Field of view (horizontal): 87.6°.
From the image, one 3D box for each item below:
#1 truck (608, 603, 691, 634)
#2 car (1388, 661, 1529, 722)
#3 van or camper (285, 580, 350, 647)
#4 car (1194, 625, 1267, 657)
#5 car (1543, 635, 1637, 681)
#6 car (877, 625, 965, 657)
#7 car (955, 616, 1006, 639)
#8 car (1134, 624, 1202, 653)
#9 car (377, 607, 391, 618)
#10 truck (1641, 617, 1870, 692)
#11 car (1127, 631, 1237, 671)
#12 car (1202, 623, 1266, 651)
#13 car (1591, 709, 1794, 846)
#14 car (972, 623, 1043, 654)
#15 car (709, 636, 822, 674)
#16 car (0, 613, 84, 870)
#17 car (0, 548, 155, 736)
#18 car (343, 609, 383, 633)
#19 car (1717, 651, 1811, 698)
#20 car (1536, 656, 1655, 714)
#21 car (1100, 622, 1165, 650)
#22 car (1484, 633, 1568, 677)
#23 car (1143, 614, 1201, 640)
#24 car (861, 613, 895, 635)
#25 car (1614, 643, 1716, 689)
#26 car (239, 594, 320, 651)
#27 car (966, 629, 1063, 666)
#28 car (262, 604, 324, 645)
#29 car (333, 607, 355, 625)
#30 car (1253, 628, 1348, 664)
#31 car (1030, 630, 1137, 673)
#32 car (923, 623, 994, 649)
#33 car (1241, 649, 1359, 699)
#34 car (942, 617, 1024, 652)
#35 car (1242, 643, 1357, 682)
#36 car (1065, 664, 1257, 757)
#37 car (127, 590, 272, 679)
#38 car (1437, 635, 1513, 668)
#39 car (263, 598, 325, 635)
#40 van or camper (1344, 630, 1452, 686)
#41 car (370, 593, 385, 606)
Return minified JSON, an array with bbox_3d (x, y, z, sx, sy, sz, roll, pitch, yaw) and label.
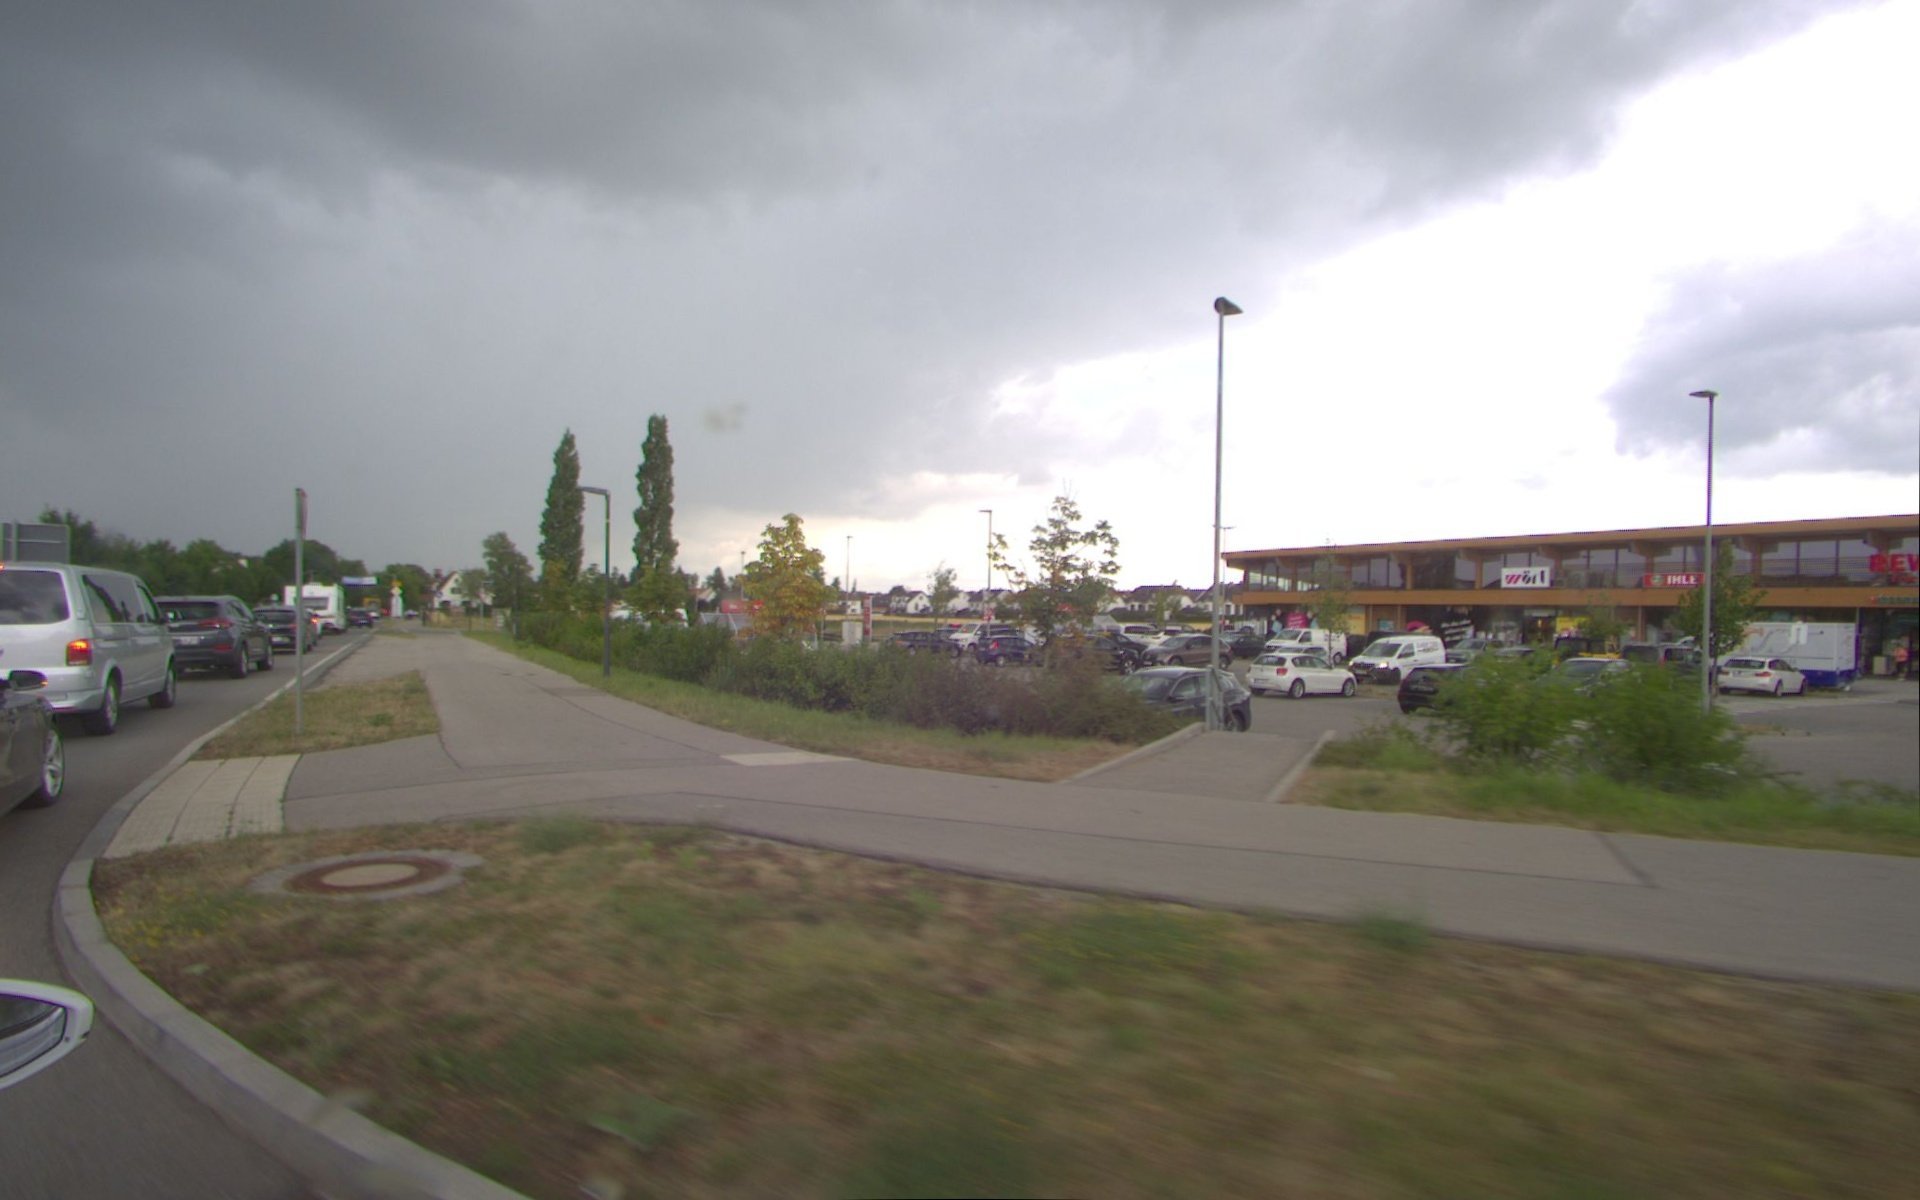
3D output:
[{"bbox_3d":[-20.223,1.213,65.295,4.750,1.896,1.987,2,-1,-34],"label":"truck"},{"bbox_3d":[13.901,2.496,27.849,3.948,1.416,1.824,1,0,-34],"label":"car"},{"bbox_3d":[-34.917,0.784,54.609,2.596,3.366,6.787,1,-1,-30],"label":"van or camper"},{"bbox_3d":[16.370,2.466,60.653,3.938,1.862,1.992,1,0,-26],"label":"car"},{"bbox_3d":[27.001,2.476,42.909,3.943,1.878,1.763,2,-1,-30],"label":"car"},{"bbox_3d":[-2.192,2.292,56.107,4.506,1.686,1.990,1,0,-30],"label":"car"},{"bbox_3d":[1.744,2.376,86.484,3.938,1.862,1.992,1,-1,-26],"label":"car"},{"bbox_3d":[13.638,2.528,65.641,3.938,1.862,1.992,1,-1,-26],"label":"car"},{"bbox_3d":[-80.781,1.747,140.423,1.595,1.427,3.598,1,-1,-28],"label":"car"},{"bbox_3d":[34.102,2.220,43.259,2.938,2.844,7.210,1,-1,-34],"label":"truck"},{"bbox_3d":[10.263,2.326,46.279,4.919,1.686,1.989,1,-1,-30],"label":"car"},{"bbox_3d":[18.838,2.541,68.726,3.940,1.795,1.991,1,-1,-28],"label":"car"},{"bbox_3d":[10.535,2.467,14.679,1.554,1.390,3.723,1,-1,23],"label":"car"},{"bbox_3d":[2.827,2.290,59.306,3.943,1.728,1.707,2,-1,-30],"label":"car"},{"bbox_3d":[-8.073,2.259,41.593,4.185,1.459,1.990,1,-1,-30],"label":"car"},{"bbox_3d":[-6.449,0.783,5.643,1.767,1.409,4.105,1,-1,-34],"label":"car"},{"bbox_3d":[-11.155,0.445,12.037,1.848,1.959,3.975,1,-1,-33],"label":"car"},{"bbox_3d":[-47.343,1.677,79.380,3.955,1.817,1.605,0,-1,42],"label":"car"},{"bbox_3d":[29.960,2.719,37.283,3.950,1.550,1.720,1,0,-35],"label":"car"},{"bbox_3d":[19.579,2.570,30.810,3.950,1.573,1.720,2,0,-35],"label":"car"},{"bbox_3d":[11.740,2.460,68.053,3.939,1.862,1.992,1,-1,-26],"label":"car"},{"bbox_3d":[25.773,2.489,45.545,3.949,1.879,1.761,2,-1,-34],"label":"car"},{"bbox_3d":[15.773,2.034,74.419,3.938,1.864,1.867,1,0,-26],"label":"car"},{"bbox_3d":[-7.748,2.224,94.236,1.968,2.040,3.987,1,-1,-23],"label":"car"},{"bbox_3d":[27.954,2.591,39.678,4.063,1.747,1.842,2,-2,-31],"label":"car"},{"bbox_3d":[-21.136,0.676,31.234,1.756,1.639,3.980,0,-1,-29],"label":"car"},{"bbox_3d":[2.670,2.307,48.817,4.355,1.686,1.990,1,0,-30],"label":"car"},{"bbox_3d":[-25.318,0.914,38.106,1.757,1.453,3.781,0,-1,-31],"label":"car"},{"bbox_3d":[-69.763,1.799,113.412,1.972,1.923,3.979,2,-1,-30],"label":"car"},{"bbox_3d":[18.744,2.523,54.999,5.228,1.854,1.990,2,-1,-30],"label":"car"},{"bbox_3d":[5.365,2.221,43.328,4.402,1.728,1.794,2,-1,-30],"label":"car"},{"bbox_3d":[-0.109,2.346,64.461,4.262,1.598,1.759,1,-1,-28],"label":"car"},{"bbox_3d":[11.322,2.419,33.265,3.945,1.504,1.672,2,-1,-34],"label":"car"},{"bbox_3d":[1.479,2.098,62.350,5.068,2.041,1.982,1,1,-40],"label":"car"},{"bbox_3d":[14.109,2.555,41.602,4.721,1.504,1.894,1,-1,-30],"label":"car"},{"bbox_3d":[4.226,2.205,20.802,3.954,1.628,1.776,2,-1,-39],"label":"car"},{"bbox_3d":[-15.451,0.677,20.556,1.757,1.639,3.981,2,-1,-29],"label":"car"},{"bbox_3d":[27.283,2.733,53.005,4.170,1.633,1.756,2,-1,-33],"label":"car"},{"bbox_3d":[-30.656,0.750,46.205,1.970,1.616,3.982,1,-1,-28],"label":"car"},{"bbox_3d":[17.768,2.304,40.552,4.743,2.125,1.754,2,-1,-34],"label":"van or camper"},{"bbox_3d":[-106.085,-0.103,182.368,1.969,2.240,3.985,1,-1,-25],"label":"car"}]
